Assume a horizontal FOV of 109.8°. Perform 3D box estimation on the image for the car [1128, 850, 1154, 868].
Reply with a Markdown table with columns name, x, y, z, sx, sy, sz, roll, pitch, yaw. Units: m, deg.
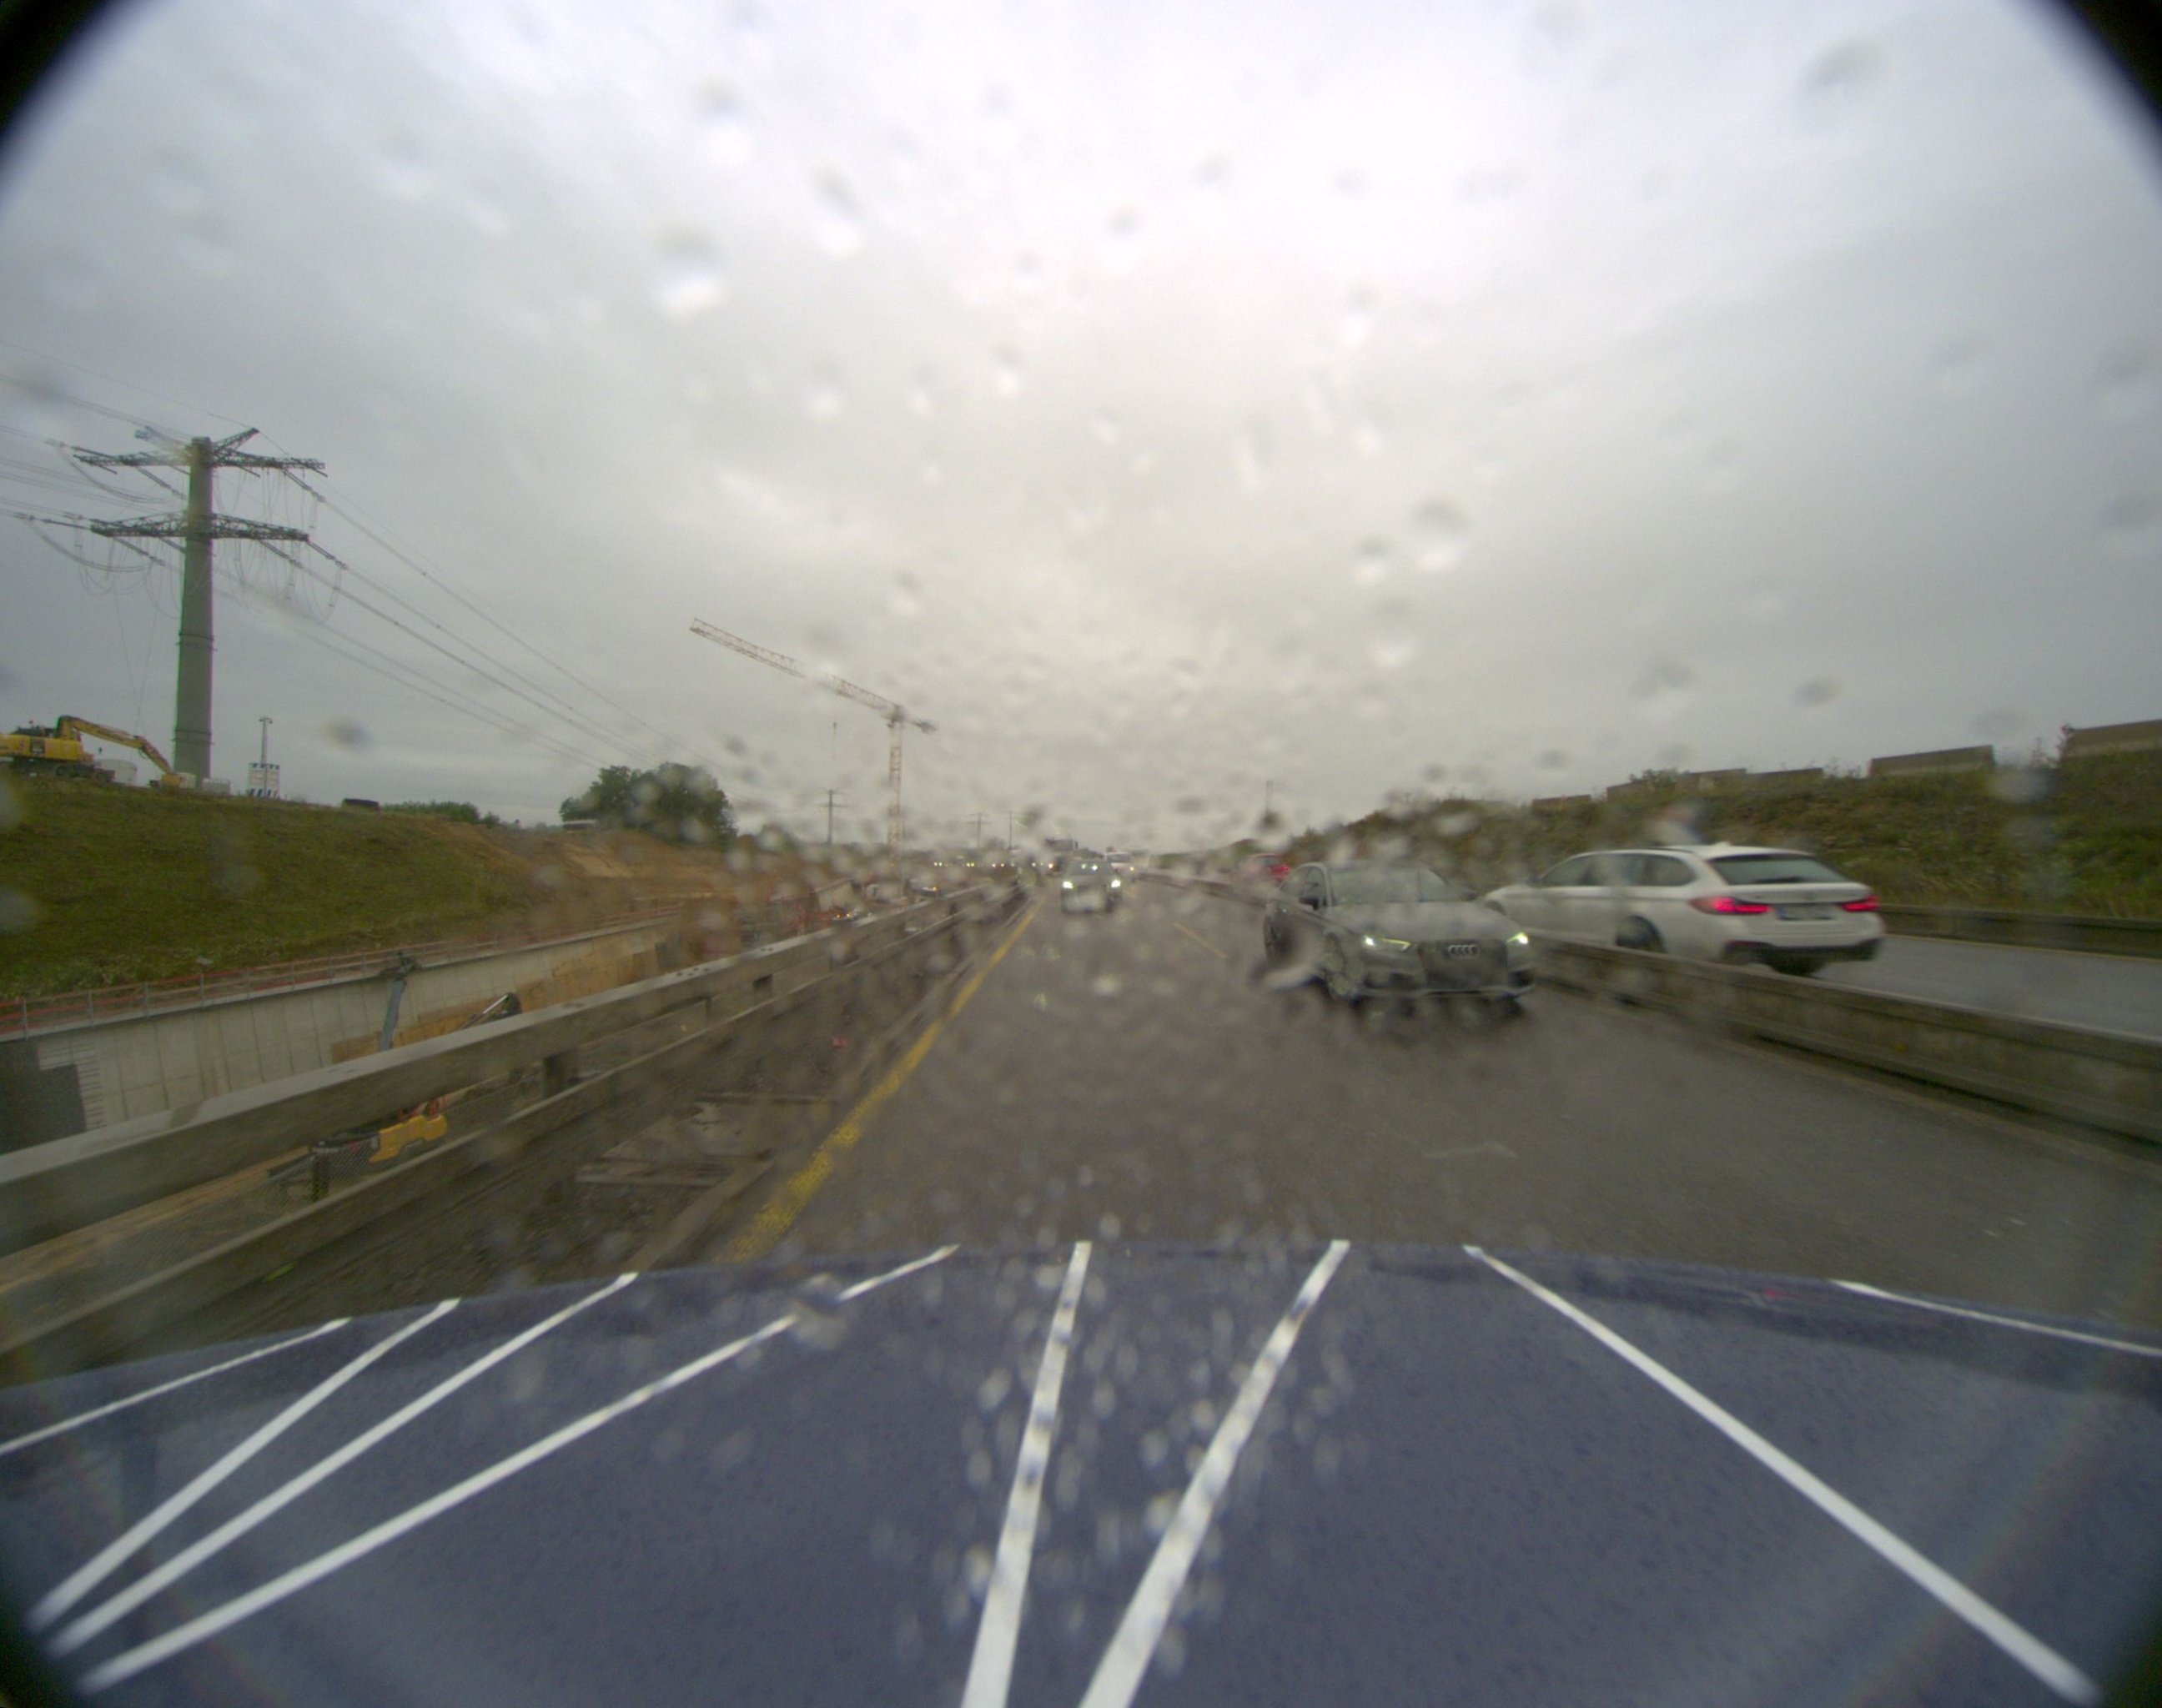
| name | x | y | z | sx | sy | sz | roll | pitch | yaw |
| --- | --- | --- | --- | --- | --- | --- | --- | --- | --- |
| car | 5.528 | 0.477 | 70.362 | 1.882 | 1.491 | 4.335 | -3 | -1 | -2 |

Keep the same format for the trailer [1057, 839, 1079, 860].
| name | x | y | z | sx | sy | sz | roll | pitch | yaw |
| --- | --- | --- | --- | --- | --- | --- | --- | --- | --- |
| trailer | -2.783 | -0.913 | 155.819 | 3.266 | 3.941 | 11.528 | -2 | 1 | -7 |

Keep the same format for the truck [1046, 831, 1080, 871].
| name | x | y | z | sx | sy | sz | roll | pitch | yaw |
| --- | --- | --- | --- | --- | --- | --- | --- | --- | --- |
| truck | -1.771 | -0.295 | 70.815 | 2.857 | 3.462 | 8.640 | -2 | 1 | -3 |

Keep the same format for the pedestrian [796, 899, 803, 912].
| name | x | y | z | sx | sy | sz | roll | pitch | yaw |
| --- | --- | --- | --- | --- | --- | --- | --- | --- | --- |
| pedestrian | -39.627 | 7.274 | 107.035 | 0.488 | 1.794 | 0.583 | -5 | 2 | 33 |

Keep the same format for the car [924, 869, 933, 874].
| name | x | y | z | sx | sy | sz | roll | pitch | yaw |
| --- | --- | --- | --- | --- | --- | --- | --- | --- | --- |
| car | -46.446 | 5.325 | 231.798 | 2.352 | 1.609 | 4.855 | -1 | 1 | -8 |

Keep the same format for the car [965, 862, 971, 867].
| name | x | y | z | sx | sy | sz | roll | pitch | yaw |
| --- | --- | --- | --- | --- | --- | --- | --- | --- | --- |
| car | -35.985 | 3.229 | 241.927 | 1.791 | 1.418 | 3.996 | -3 | 0 | -11 |

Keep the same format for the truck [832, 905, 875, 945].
| name | x | y | z | sx | sy | sz | roll | pitch | yaw |
| --- | --- | --- | --- | --- | --- | --- | --- | --- | --- |
| truck | -26.158 | 8.095 | 87.724 | 2.710 | 3.591 | 9.069 | 0 | 1 | -3 |

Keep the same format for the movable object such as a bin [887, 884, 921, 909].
| name | x | y | z | sx | sy | sz | roll | pitch | yaw |
| --- | --- | --- | --- | --- | --- | --- | --- | --- | --- |
| movable object such as a bin | -28.316 | 6.703 | 121.616 | 3.516 | 3.405 | 6.652 | -2 | 2 | 2 |

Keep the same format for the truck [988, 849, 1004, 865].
| name | x | y | z | sx | sy | sz | roll | pitch | yaw |
| --- | --- | --- | --- | --- | --- | --- | --- | --- | --- |
| truck | -21.660 | 0.710 | 192.580 | 3.548 | 3.871 | 8.329 | -3 | 0 | -8 |

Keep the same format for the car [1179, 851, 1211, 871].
| name | x | y | z | sx | sy | sz | roll | pitch | yaw |
| --- | --- | --- | --- | --- | --- | --- | --- | --- | --- |
| car | 8.897 | 0.495 | 59.584 | 1.773 | 1.435 | 4.671 | -2 | 0 | 0 |

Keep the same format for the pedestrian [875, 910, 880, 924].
| name | x | y | z | sx | sy | sz | roll | pitch | yaw |
| --- | --- | --- | --- | --- | --- | --- | --- | --- | --- |
| pedestrian | -27.385 | 8.507 | 102.306 | 0.603 | 1.759 | 0.481 | 2 | 1 | -7 |

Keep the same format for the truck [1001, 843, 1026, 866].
| name | x | y | z | sx | sy | sz | roll | pitch | yaw |
| --- | --- | --- | --- | --- | --- | --- | --- | --- | --- |
| truck | -13.971 | 0.192 | 156.193 | 4.320 | 4.319 | 13.399 | -3 | 0 | -7 |

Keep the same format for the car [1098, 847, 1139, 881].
| name | x | y | z | sx | sy | sz | roll | pitch | yaw |
| --- | --- | --- | --- | --- | --- | --- | --- | --- | --- |
| car | 2.314 | 0.576 | 48.307 | 2.070 | 1.933 | 5.154 | -2 | 1 | -3 |

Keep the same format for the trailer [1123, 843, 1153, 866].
| name | x | y | z | sx | sy | sz | roll | pitch | yaw |
| --- | --- | --- | --- | --- | --- | --- | --- | --- | --- |
| trailer | 6.689 | 0.071 | 90.239 | 2.517 | 2.549 | 7.160 | -3 | 0 | -4 |

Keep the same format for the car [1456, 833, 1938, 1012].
| name | x | y | z | sx | sy | sz | roll | pitch | yaw |
| --- | --- | --- | --- | --- | --- | --- | --- | --- | --- |
| car | 7.027 | 0.620 | 9.635 | 2.051 | 1.623 | 4.988 | -2 | 1 | 0 |

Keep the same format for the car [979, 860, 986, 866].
| name | x | y | z | sx | sy | sz | roll | pitch | yaw |
| --- | --- | --- | --- | --- | --- | --- | --- | --- | --- |
| car | -27.770 | 2.490 | 214.357 | 1.790 | 1.418 | 3.997 | -3 | 0 | -7 |

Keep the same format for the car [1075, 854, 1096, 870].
| name | x | y | z | sx | sy | sz | roll | pitch | yaw |
| --- | --- | --- | --- | --- | --- | --- | --- | --- | --- |
| car | 0.516 | 0.919 | 87.483 | 1.790 | 1.744 | 3.997 | -3 | 0 | -7 |

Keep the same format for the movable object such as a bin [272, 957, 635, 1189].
| name | x | y | z | sx | sy | sz | roll | pitch | yaw |
| --- | --- | --- | --- | --- | --- | --- | --- | --- | --- |
| movable object such as a bin | -25.342 | 8.455 | 32.477 | 4.906 | 5.639 | 12.083 | -4 | 3 | 0 |

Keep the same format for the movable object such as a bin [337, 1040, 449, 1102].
| name | x | y | z | sx | sy | sz | roll | pitch | yaw |
| --- | --- | --- | --- | --- | --- | --- | --- | --- | --- |
| movable object such as a bin | -33.792 | 10.633 | 37.470 | 2.523 | 1.900 | 3.255 | -4 | 1 | -6 |

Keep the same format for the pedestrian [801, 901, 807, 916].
| name | x | y | z | sx | sy | sz | roll | pitch | yaw |
| --- | --- | --- | --- | --- | --- | --- | --- | --- | --- |
| pedestrian | -39.485 | 7.801 | 108.461 | 0.489 | 2.088 | 0.481 | -7 | 2 | -7 |

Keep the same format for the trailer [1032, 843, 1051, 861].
| name | x | y | z | sx | sy | sz | roll | pitch | yaw |
| --- | --- | --- | --- | --- | --- | --- | --- | --- | --- |
| trailer | -10.151 | -0.453 | 193.567 | 3.005 | 4.395 | 15.690 | 0 | 0 | -9 |

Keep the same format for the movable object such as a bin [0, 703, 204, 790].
| name | x | y | z | sx | sy | sz | roll | pitch | yaw |
| --- | --- | --- | --- | --- | --- | --- | --- | --- | --- |
| movable object such as a bin | -60.626 | -6.420 | 47.006 | 3.107 | 4.182 | 8.178 | 0 | 0 | 1 |

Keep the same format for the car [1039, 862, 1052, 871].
| name | x | y | z | sx | sy | sz | roll | pitch | yaw |
| --- | --- | --- | --- | --- | --- | --- | --- | --- | --- |
| car | -6.331 | 2.199 | 135.027 | 1.790 | 1.418 | 3.997 | -3 | 0 | -7 |

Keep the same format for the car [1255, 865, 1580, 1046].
| name | x | y | z | sx | sy | sz | roll | pitch | yaw |
| --- | --- | --- | --- | --- | --- | --- | --- | --- | --- |
| car | 3.317 | 0.891 | 8.468 | 1.805 | 1.375 | 4.087 | -2 | 1 | 0 |

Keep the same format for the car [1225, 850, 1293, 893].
| name | x | y | z | sx | sy | sz | roll | pitch | yaw |
| --- | --- | --- | --- | --- | --- | --- | --- | --- | --- |
| car | 7.117 | 0.644 | 30.682 | 1.732 | 1.568 | 3.720 | -2 | 1 | -2 |

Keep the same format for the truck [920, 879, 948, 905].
| name | x | y | z | sx | sy | sz | roll | pitch | yaw |
| --- | --- | --- | --- | --- | --- | --- | --- | --- | --- |
| truck | -24.572 | 6.389 | 127.775 | 3.362 | 3.521 | 8.901 | -1 | 2 | -3 |

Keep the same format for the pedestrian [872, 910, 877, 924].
| name | x | y | z | sx | sy | sz | roll | pitch | yaw |
| --- | --- | --- | --- | --- | --- | --- | --- | --- | --- |
| pedestrian | -28.316 | 8.637 | 104.007 | 0.603 | 1.894 | 0.481 | 1 | 1 | -7 |

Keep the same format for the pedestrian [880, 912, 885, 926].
| name | x | y | z | sx | sy | sz | roll | pitch | yaw |
| --- | --- | --- | --- | --- | --- | --- | --- | --- | --- |
| pedestrian | -27.100 | 8.879 | 103.868 | 0.603 | 1.894 | 0.614 | 0 | 1 | -7 |

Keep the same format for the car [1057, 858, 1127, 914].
| name | x | y | z | sx | sy | sz | roll | pitch | yaw |
| --- | --- | --- | --- | --- | --- | --- | --- | --- | --- |
| car | 0.243 | 0.887 | 23.118 | 1.875 | 1.481 | 4.260 | -2 | 0 | -2 |

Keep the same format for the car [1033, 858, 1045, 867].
| name | x | y | z | sx | sy | sz | roll | pitch | yaw |
| --- | --- | --- | --- | --- | --- | --- | --- | --- | --- |
| car | -8.197 | 1.562 | 148.437 | 1.791 | 1.646 | 3.997 | -3 | 0 | -9 |
